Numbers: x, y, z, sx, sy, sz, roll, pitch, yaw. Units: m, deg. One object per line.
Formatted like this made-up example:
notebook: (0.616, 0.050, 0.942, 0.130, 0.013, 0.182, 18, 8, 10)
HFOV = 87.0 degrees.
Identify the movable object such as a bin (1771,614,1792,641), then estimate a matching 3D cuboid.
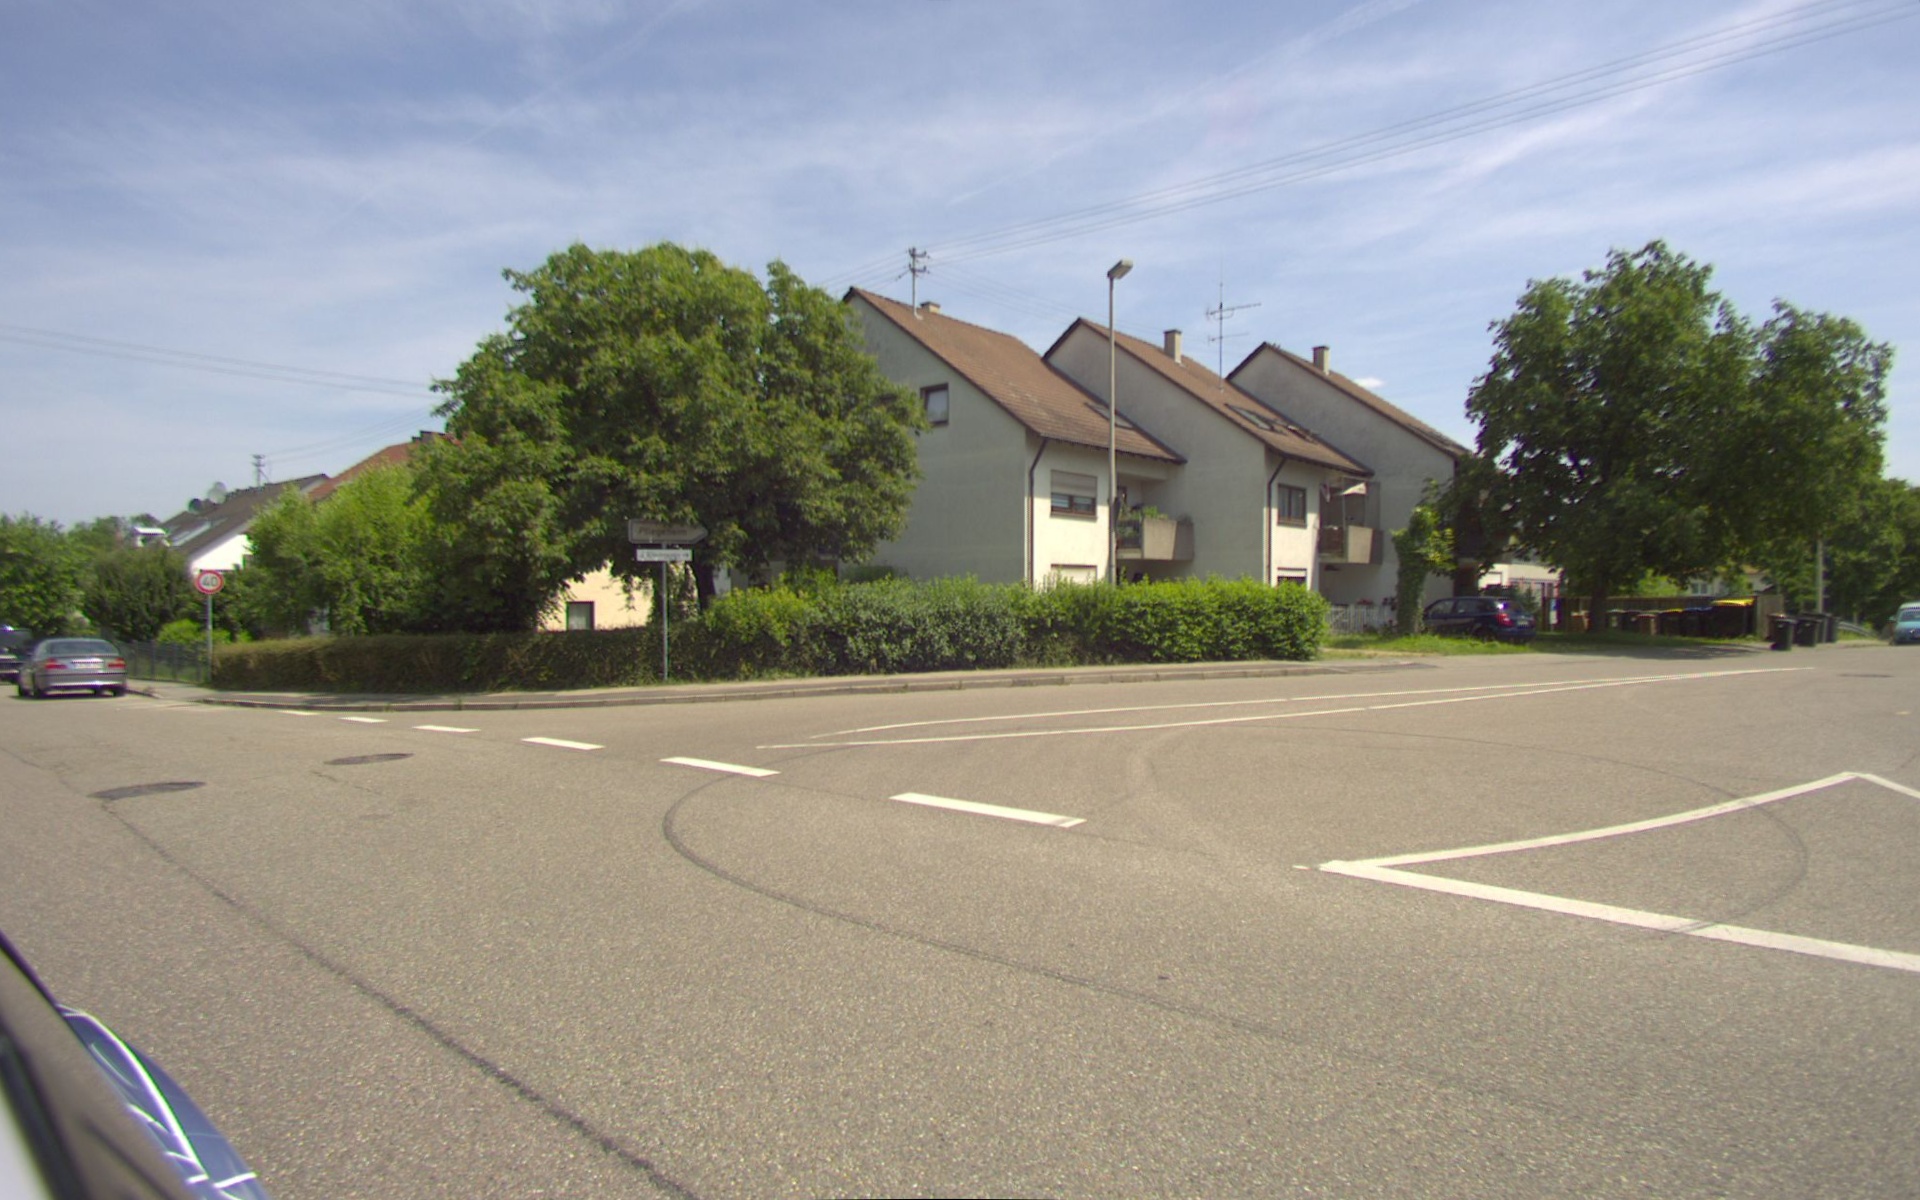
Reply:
movable object such as a bin: (27.230, 0.908, 33.551, 0.367, 0.863, 0.373, -1, 0, -11)

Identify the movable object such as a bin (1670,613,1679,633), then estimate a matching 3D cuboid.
movable object such as a bin: (26.076, 0.842, 36.935, 0.229, 0.734, 0.234, -1, 0, 25)

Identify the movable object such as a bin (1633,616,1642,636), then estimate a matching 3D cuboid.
movable object such as a bin: (25.297, 0.982, 37.815, 0.229, 0.734, 0.234, -1, 0, 25)

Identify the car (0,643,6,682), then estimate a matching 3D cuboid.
car: (-40.279, 2.589, 41.016, 4.238, 1.561, 1.793, -4, -3, 39)

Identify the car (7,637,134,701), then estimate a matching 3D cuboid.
car: (-21.695, 1.630, 24.632, 4.407, 1.405, 1.761, -3, -3, 41)

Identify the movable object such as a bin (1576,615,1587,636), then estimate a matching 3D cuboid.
movable object such as a bin: (22.820, 0.931, 37.141, 0.247, 0.734, 0.236, -1, 0, 3)

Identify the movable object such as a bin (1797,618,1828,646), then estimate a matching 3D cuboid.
movable object such as a bin: (27.224, 1.017, 32.327, 0.509, 0.881, 0.519, -1, 0, 3)

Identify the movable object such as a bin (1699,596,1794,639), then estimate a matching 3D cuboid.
movable object such as a bin: (26.954, 0.605, 34.715, 2.170, 1.398, 1.520, 0, -3, -17)

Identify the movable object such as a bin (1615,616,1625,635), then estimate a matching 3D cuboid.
movable object such as a bin: (24.903, 0.964, 38.202, 0.228, 0.734, 0.235, -1, 0, 15)

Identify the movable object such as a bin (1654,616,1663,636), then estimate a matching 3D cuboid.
movable object such as a bin: (25.706, 0.956, 37.262, 0.229, 0.734, 0.234, -1, 0, 25)

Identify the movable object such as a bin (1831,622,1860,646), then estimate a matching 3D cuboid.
movable object such as a bin: (28.686, 1.097, 32.801, 0.473, 0.778, 0.519, -1, 0, 3)

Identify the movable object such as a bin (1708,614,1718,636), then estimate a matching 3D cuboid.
movable object such as a bin: (26.978, 0.896, 36.262, 0.229, 0.811, 0.234, -1, -1, 25)

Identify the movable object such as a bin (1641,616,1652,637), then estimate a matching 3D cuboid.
movable object such as a bin: (24.431, 0.938, 36.017, 0.227, 0.734, 0.236, -1, 0, 3)

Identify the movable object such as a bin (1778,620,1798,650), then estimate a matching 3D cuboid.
movable object such as a bin: (24.553, 1.032, 30.006, 0.386, 0.881, 0.397, -1, -1, -42)

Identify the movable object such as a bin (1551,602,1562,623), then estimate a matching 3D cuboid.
movable object such as a bin: (21.550, 0.451, 36.563, 0.247, 0.734, 0.236, -1, 0, 3)

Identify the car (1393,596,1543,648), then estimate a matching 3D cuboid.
car: (14.438, 0.616, 28.934, 1.374, 1.372, 3.618, -1, 0, -31)

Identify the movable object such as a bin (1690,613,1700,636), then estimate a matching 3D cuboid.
movable object such as a bin: (26.529, 0.889, 36.535, 0.229, 0.811, 0.234, -1, -1, 25)

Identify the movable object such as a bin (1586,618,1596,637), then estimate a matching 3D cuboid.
movable object such as a bin: (24.199, 1.042, 38.795, 0.227, 0.734, 0.236, -1, 0, 3)

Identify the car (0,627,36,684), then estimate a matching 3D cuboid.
car: (-34.511, 2.011, 35.860, 4.864, 1.935, 1.878, -4, -4, 39)

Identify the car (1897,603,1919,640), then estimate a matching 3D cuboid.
car: (37.046, 0.801, 38.617, 1.757, 1.344, 3.812, -1, 0, 44)
